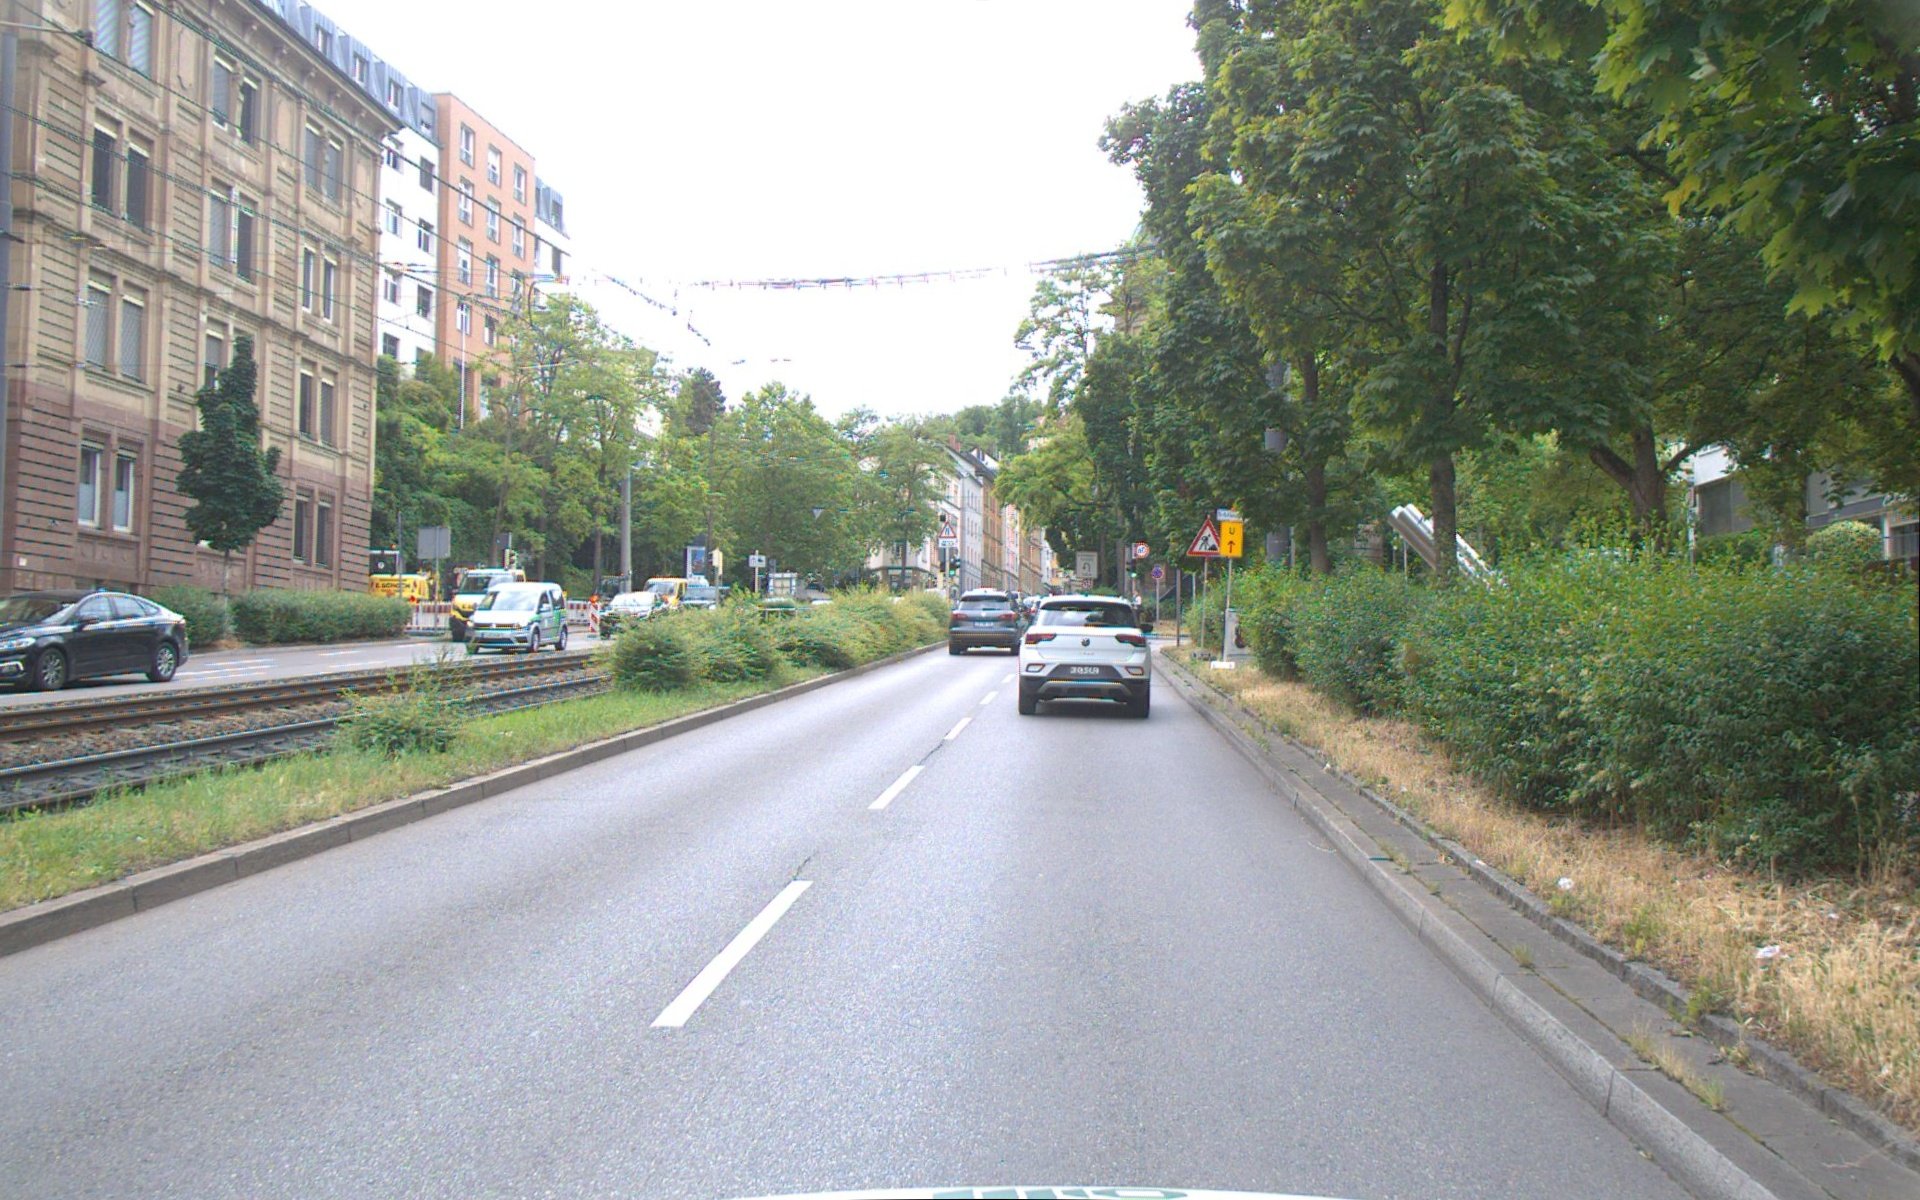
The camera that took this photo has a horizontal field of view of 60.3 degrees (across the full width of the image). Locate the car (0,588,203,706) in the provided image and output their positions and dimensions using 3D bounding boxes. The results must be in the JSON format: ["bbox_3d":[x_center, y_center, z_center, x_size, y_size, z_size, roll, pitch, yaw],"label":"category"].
[{"bbox_3d":[-13.849,0.631,25.429,1.781,1.475,4.950,2,2,5],"label":"car"}]

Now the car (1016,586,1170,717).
[{"bbox_3d":[1.756,0.674,22.980,1.898,1.594,4.047,2,-1,2],"label":"car"}]

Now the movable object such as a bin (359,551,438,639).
[{"bbox_3d":[-18.865,-0.157,55.610,1.953,2.888,2.029,0,-1,-1],"label":"movable object such as a bin"}]

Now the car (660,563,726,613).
[{"bbox_3d":[-11.161,-0.455,69.443,1.860,1.909,4.642,3,-1,1],"label":"car"}]

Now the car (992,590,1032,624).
[{"bbox_3d":[3.950,0.490,124.034,2.371,2.206,6.038,5,1,6],"label":"car"}]

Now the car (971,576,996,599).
[{"bbox_3d":[2.203,-1.112,153.266,1.951,2.049,4.002,-1,0,5],"label":"car"}]

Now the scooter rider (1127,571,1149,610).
[{"bbox_3d":[7.285,-0.387,67.782,0.764,1.585,0.530,-1,0,-14],"label":"scooter rider"}]

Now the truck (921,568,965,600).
[{"bbox_3d":[-1.290,-1.297,130.009,2.370,2.206,6.040,3,3,9],"label":"truck"}]

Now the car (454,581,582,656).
[{"bbox_3d":[-11.448,0.461,43.159,1.840,1.819,4.519,-1,0,4],"label":"car"}]

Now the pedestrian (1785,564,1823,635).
[{"bbox_3d":[18.937,-0.005,37.107,0.537,1.569,0.620,-1,0,3],"label":"pedestrian"}]

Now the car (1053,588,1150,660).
[{"bbox_3d":[3.491,0.642,41.374,1.865,1.602,3.831,3,-2,-3],"label":"car"}]

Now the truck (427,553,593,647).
[{"bbox_3d":[-14.497,0.101,53.944,2.856,2.554,7.156,-4,-3,4],"label":"truck"}]

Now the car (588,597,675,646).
[{"bbox_3d":[-11.313,0.758,57.209,1.826,1.582,4.439,1,-1,3],"label":"car"}]

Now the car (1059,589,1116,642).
[{"bbox_3d":[4.614,0.591,59.952,1.952,1.652,4.001,-1,-4,4],"label":"car"}]

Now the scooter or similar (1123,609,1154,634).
[{"bbox_3d":[7.309,0.878,67.772,1.167,1.011,0.529,-1,0,-14],"label":"scooter or similar"}]

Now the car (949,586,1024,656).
[{"bbox_3d":[0.771,0.575,44.910,1.801,1.770,4.002,1,-1,4],"label":"car"}]
